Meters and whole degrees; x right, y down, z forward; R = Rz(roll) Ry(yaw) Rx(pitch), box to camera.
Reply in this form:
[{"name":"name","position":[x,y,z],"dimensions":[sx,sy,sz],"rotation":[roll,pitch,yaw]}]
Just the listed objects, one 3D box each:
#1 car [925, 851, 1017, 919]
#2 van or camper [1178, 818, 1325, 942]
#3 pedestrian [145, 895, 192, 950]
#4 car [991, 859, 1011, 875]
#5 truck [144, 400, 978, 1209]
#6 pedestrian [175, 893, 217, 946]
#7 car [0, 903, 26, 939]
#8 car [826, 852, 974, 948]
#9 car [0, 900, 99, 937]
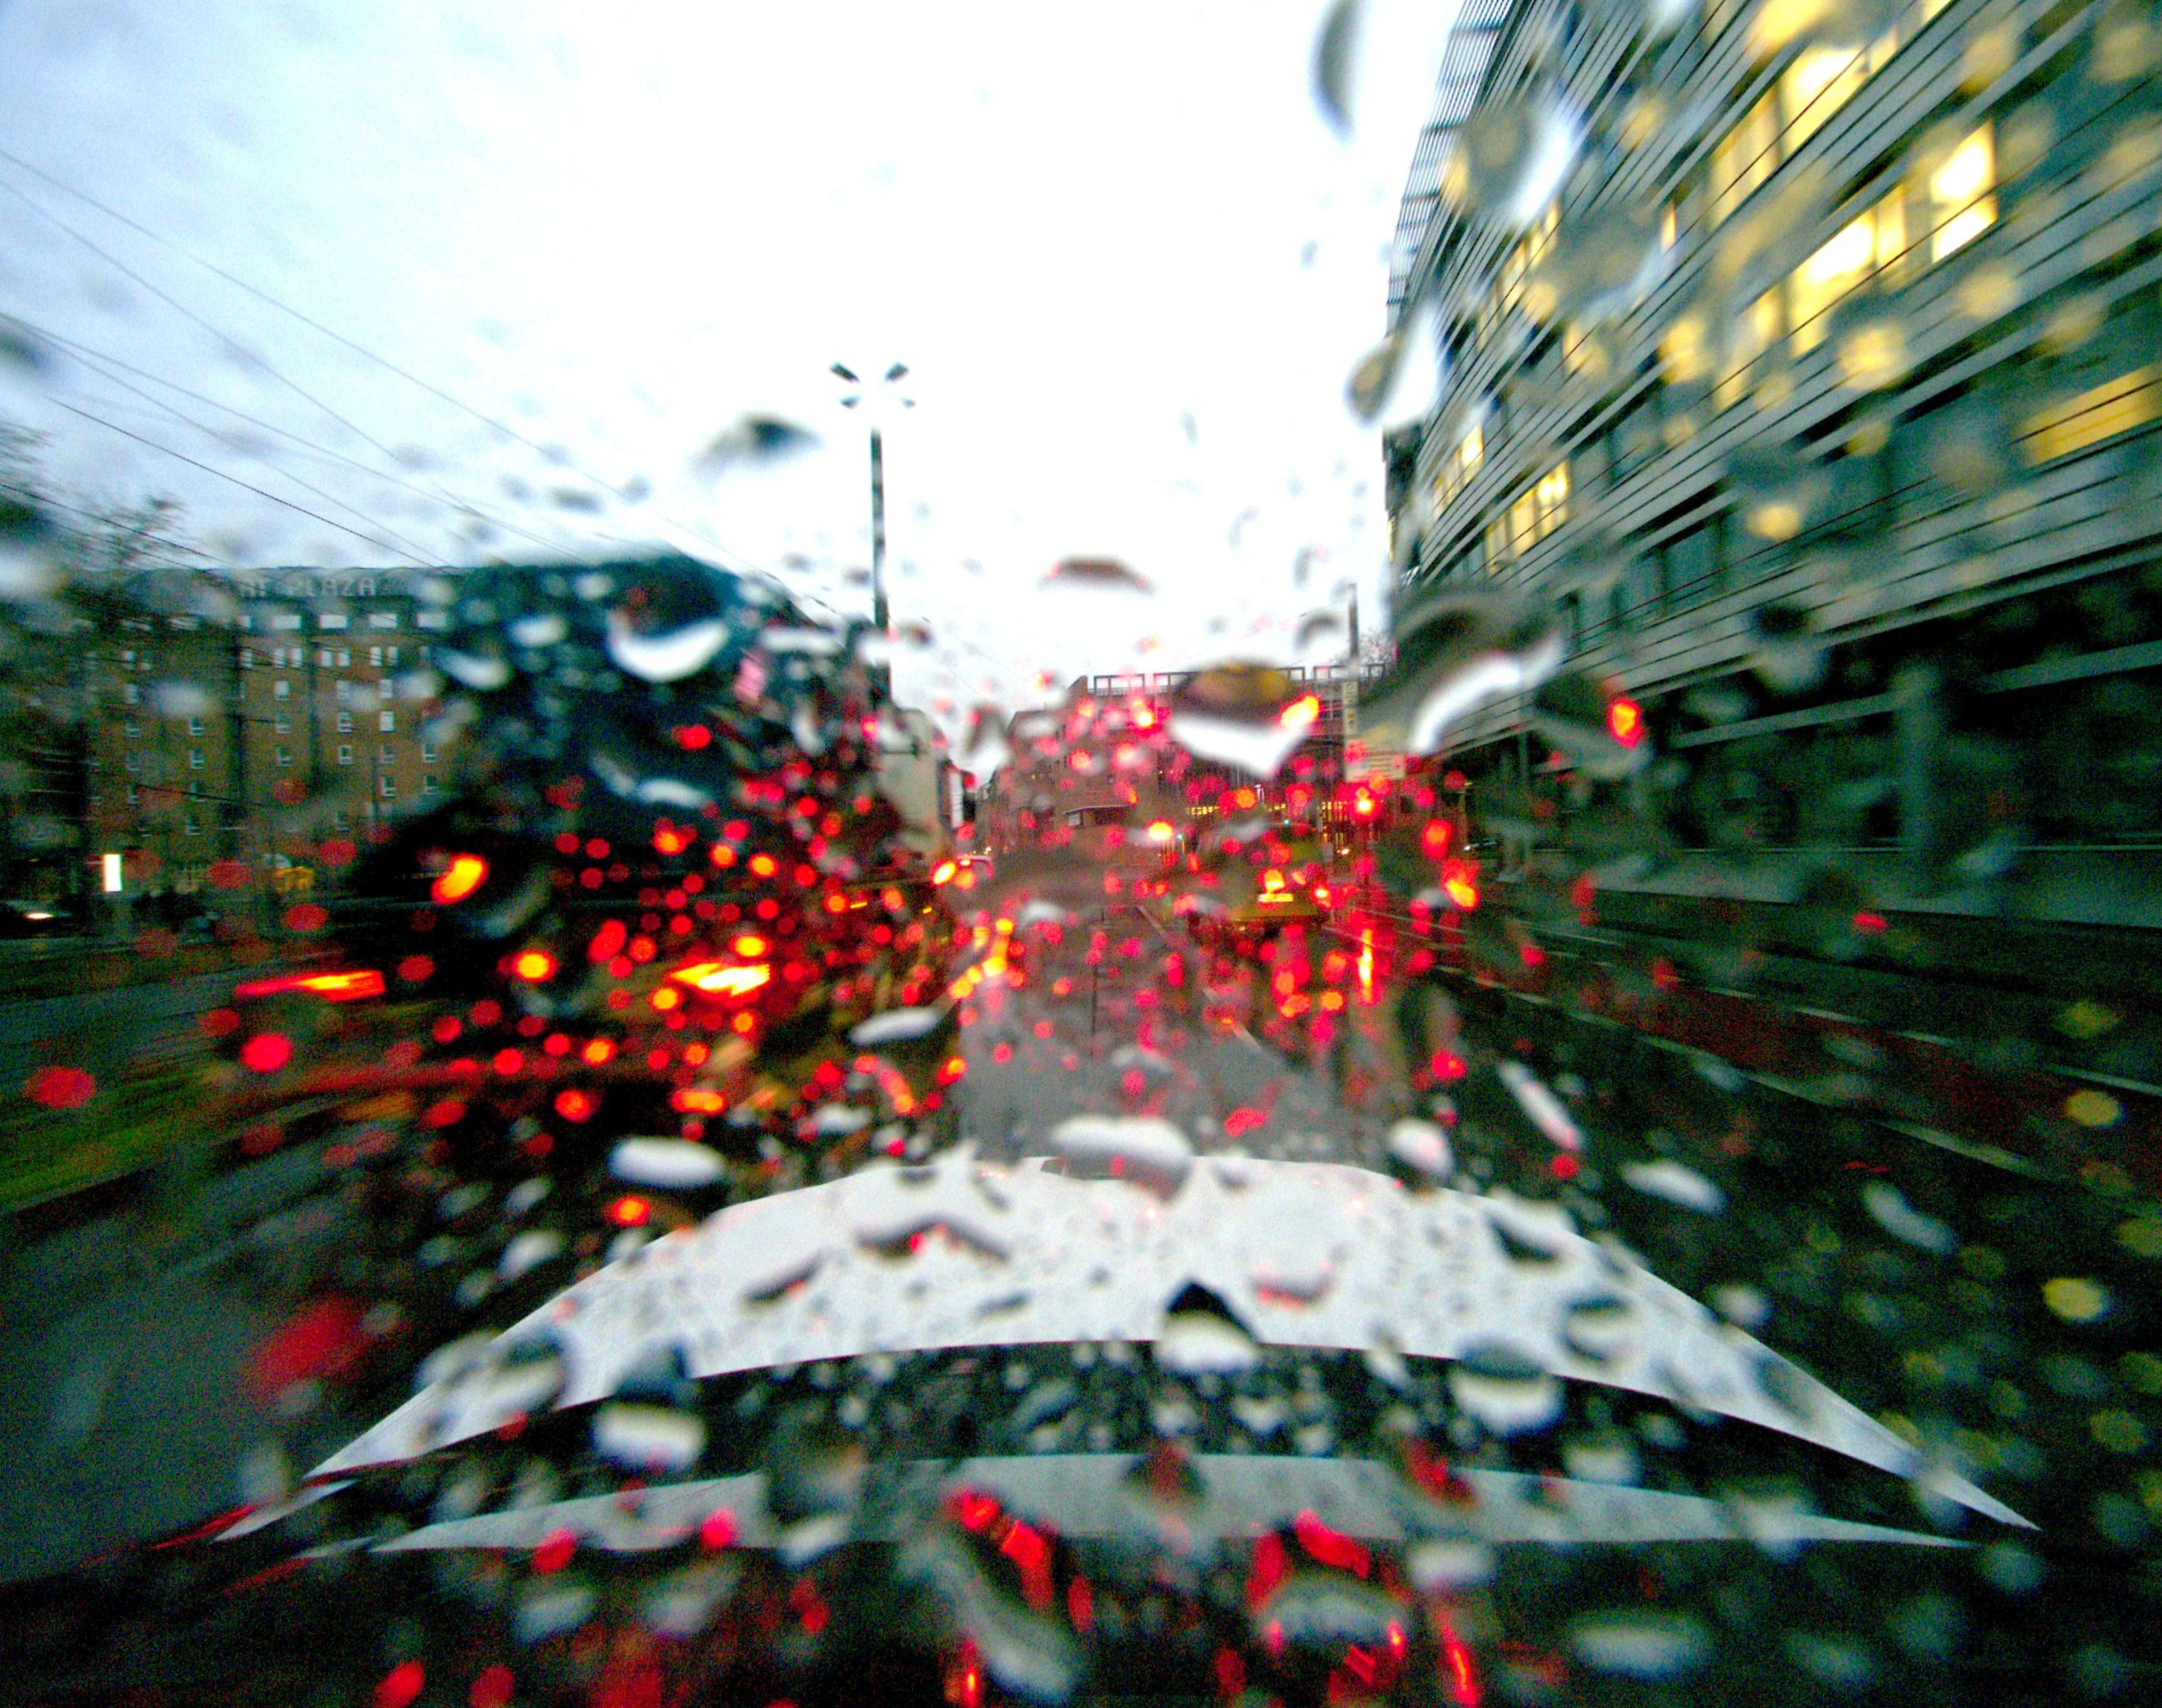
[{"name":"car","position":[-2.604,0.694,20.065],"dimensions":[1.692,1.459,3.757],"rotation":[-2,0,0]},{"name":"van or camper","position":[2.914,0.399,14.862],"dimensions":[1.751,1.906,4.418],"rotation":[-1,0,0]},{"name":"pedestrian","position":[-26.220,1.955,23.409],"dimensions":[0.560,1.512,0.644],"rotation":[-2,0,-8]},{"name":"car","position":[-7.952,1.274,80.837],"dimensions":[1.869,1.579,3.989],"rotation":[0,0,-8]},{"name":"truck","position":[-2.849,-0.258,7.510],"dimensions":[2.831,3.633,7.523],"rotation":[-2,0,-1]},{"name":"pedestrian","position":[-26.193,1.934,24.107],"dimensions":[0.519,1.512,0.612],"rotation":[-2,0,-8]},{"name":"car","position":[-45.749,2.809,32.796],"dimensions":[3.970,1.427,2.002],"rotation":[-2,0,3]},{"name":"car","position":[-3.015,0.717,14.382],"dimensions":[1.700,1.448,3.999],"rotation":[0,-1,0]},{"name":"car","position":[-46.808,2.872,36.207],"dimensions":[3.970,1.427,2.002],"rotation":[-2,0,3]}]
